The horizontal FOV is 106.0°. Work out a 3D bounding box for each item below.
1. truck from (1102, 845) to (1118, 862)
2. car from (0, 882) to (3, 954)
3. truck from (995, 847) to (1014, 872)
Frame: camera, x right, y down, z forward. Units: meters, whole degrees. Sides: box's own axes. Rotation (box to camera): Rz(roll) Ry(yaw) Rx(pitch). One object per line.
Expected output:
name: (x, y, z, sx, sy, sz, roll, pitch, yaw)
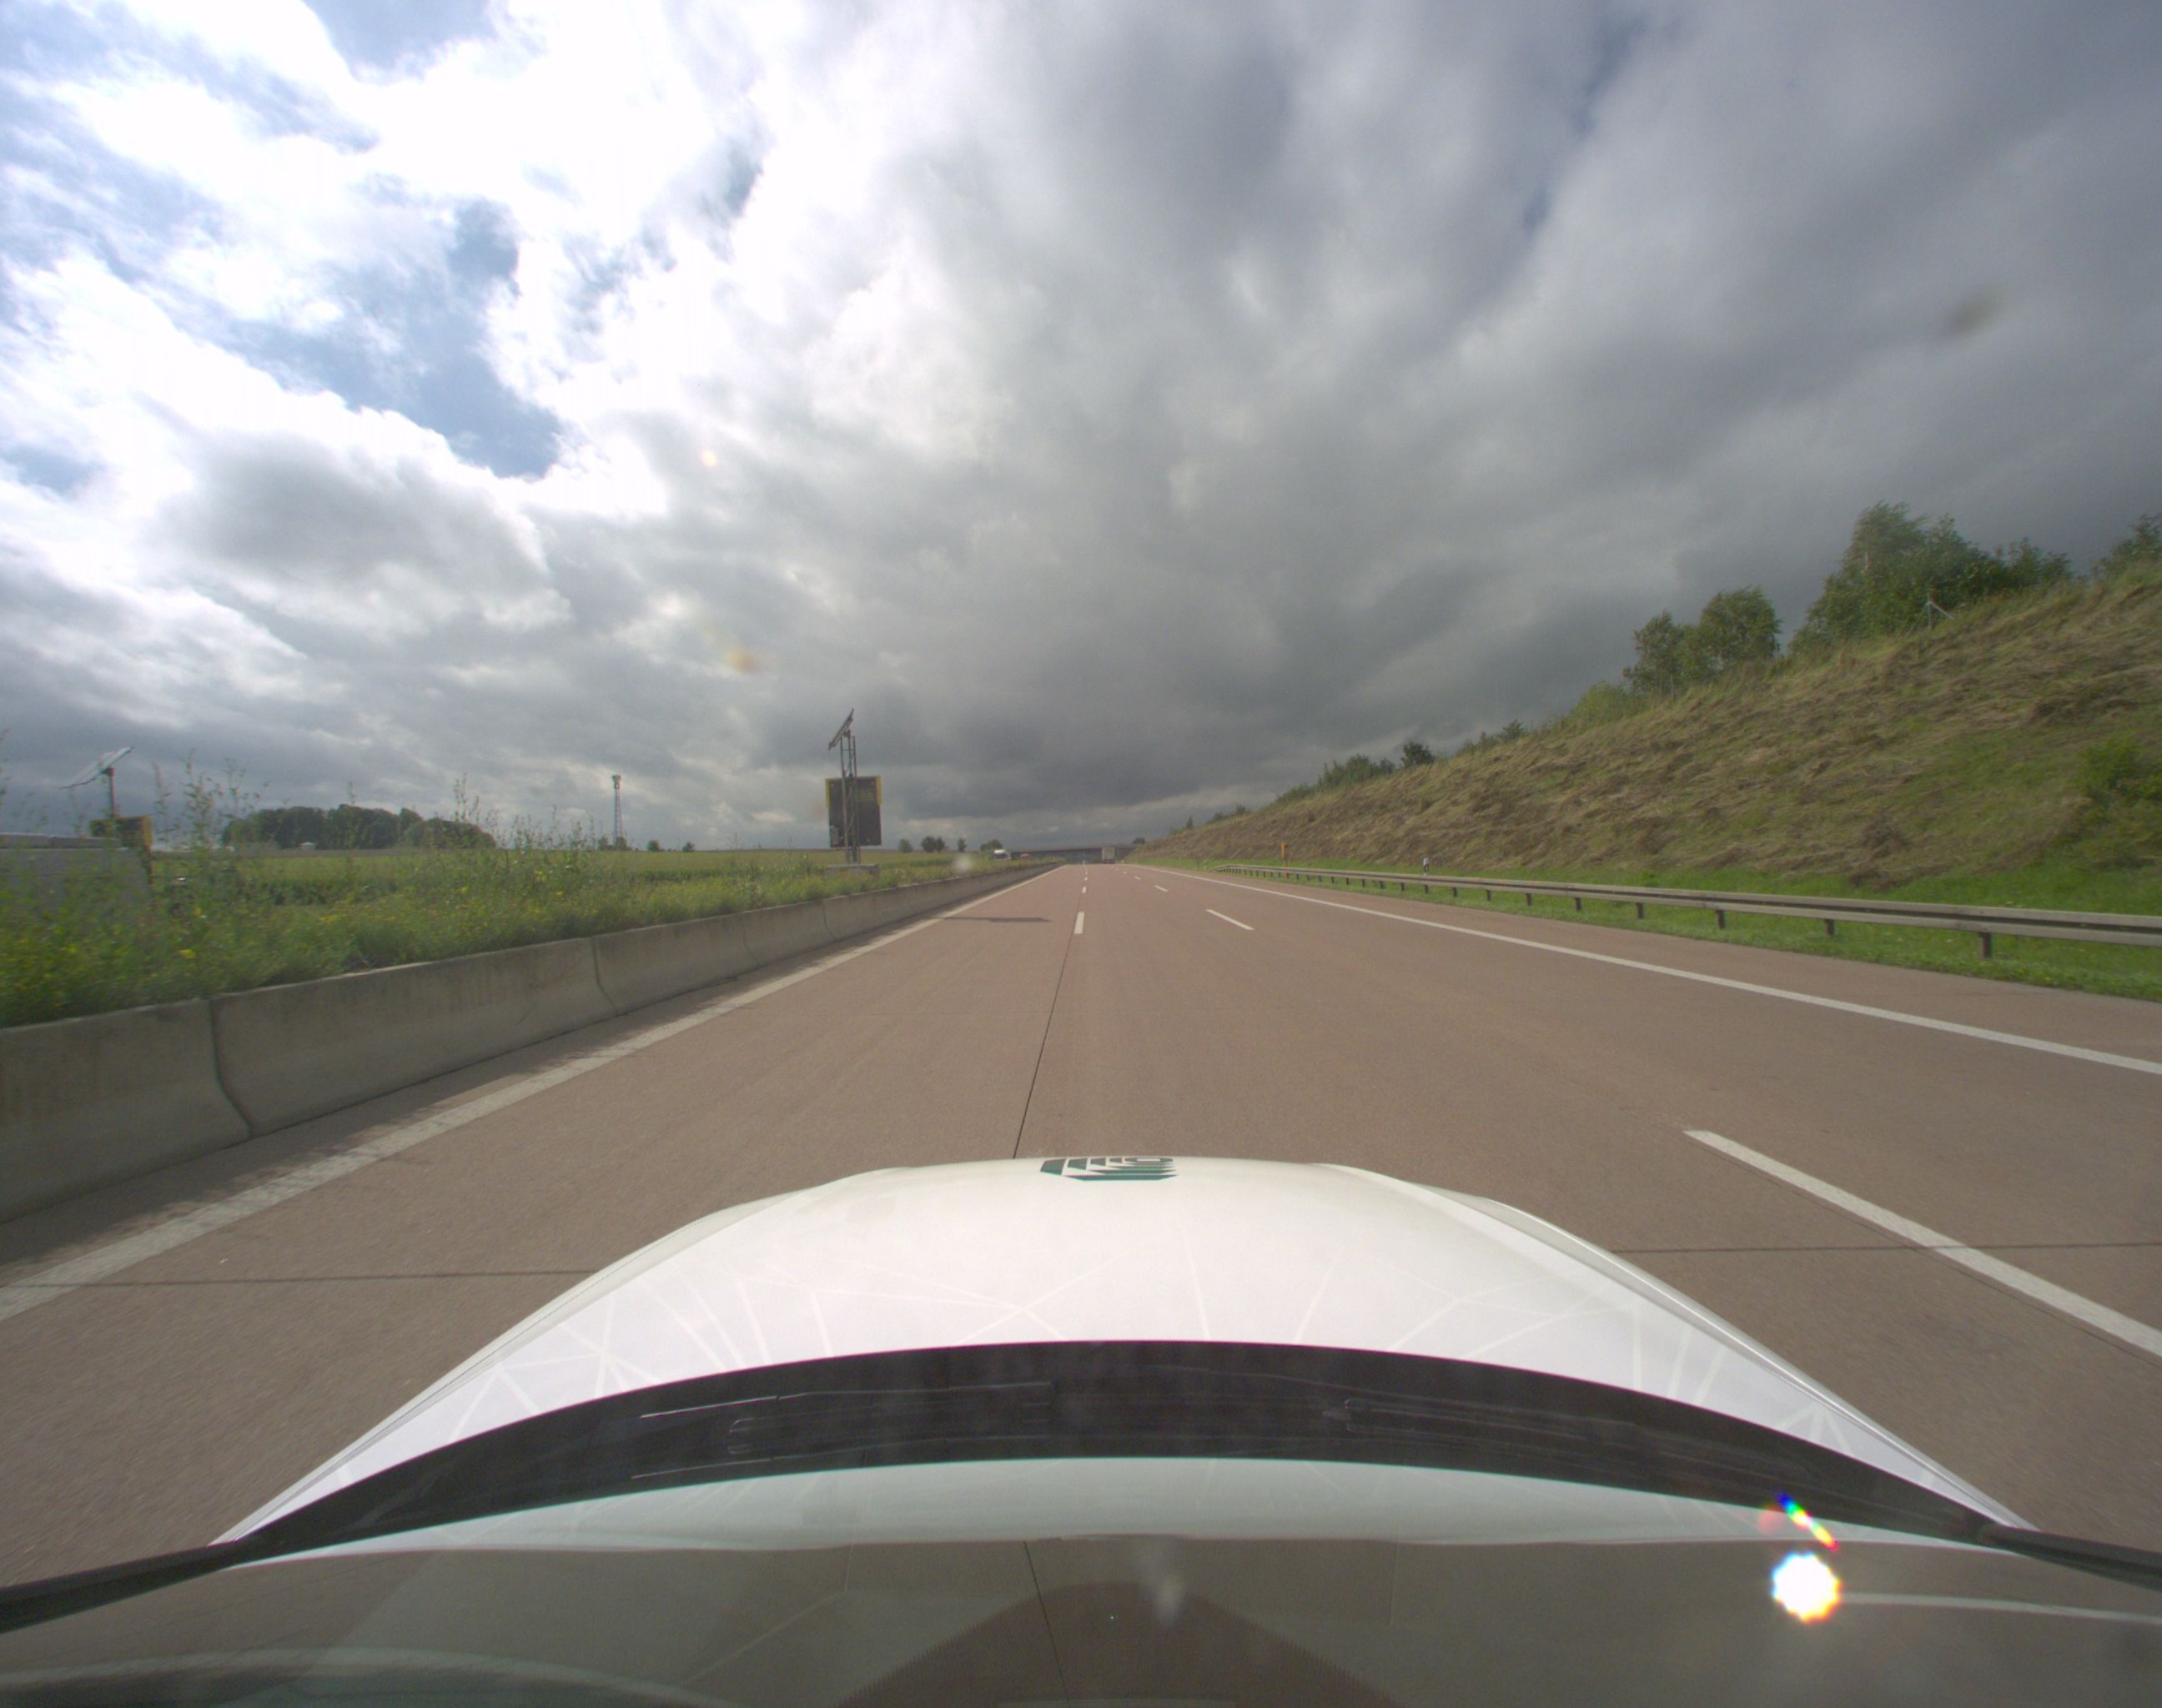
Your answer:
truck: (6.843, -0.173, 192.455, 3.603, 3.945, 11.178, 0, 0, 2)
car: (-17.109, 0.575, 9.212, 2.049, 1.913, 5.706, -3, 0, 2)
truck: (-16.244, 1.107, 173.416, 2.980, 5.065, 10.986, 0, 0, 1)
